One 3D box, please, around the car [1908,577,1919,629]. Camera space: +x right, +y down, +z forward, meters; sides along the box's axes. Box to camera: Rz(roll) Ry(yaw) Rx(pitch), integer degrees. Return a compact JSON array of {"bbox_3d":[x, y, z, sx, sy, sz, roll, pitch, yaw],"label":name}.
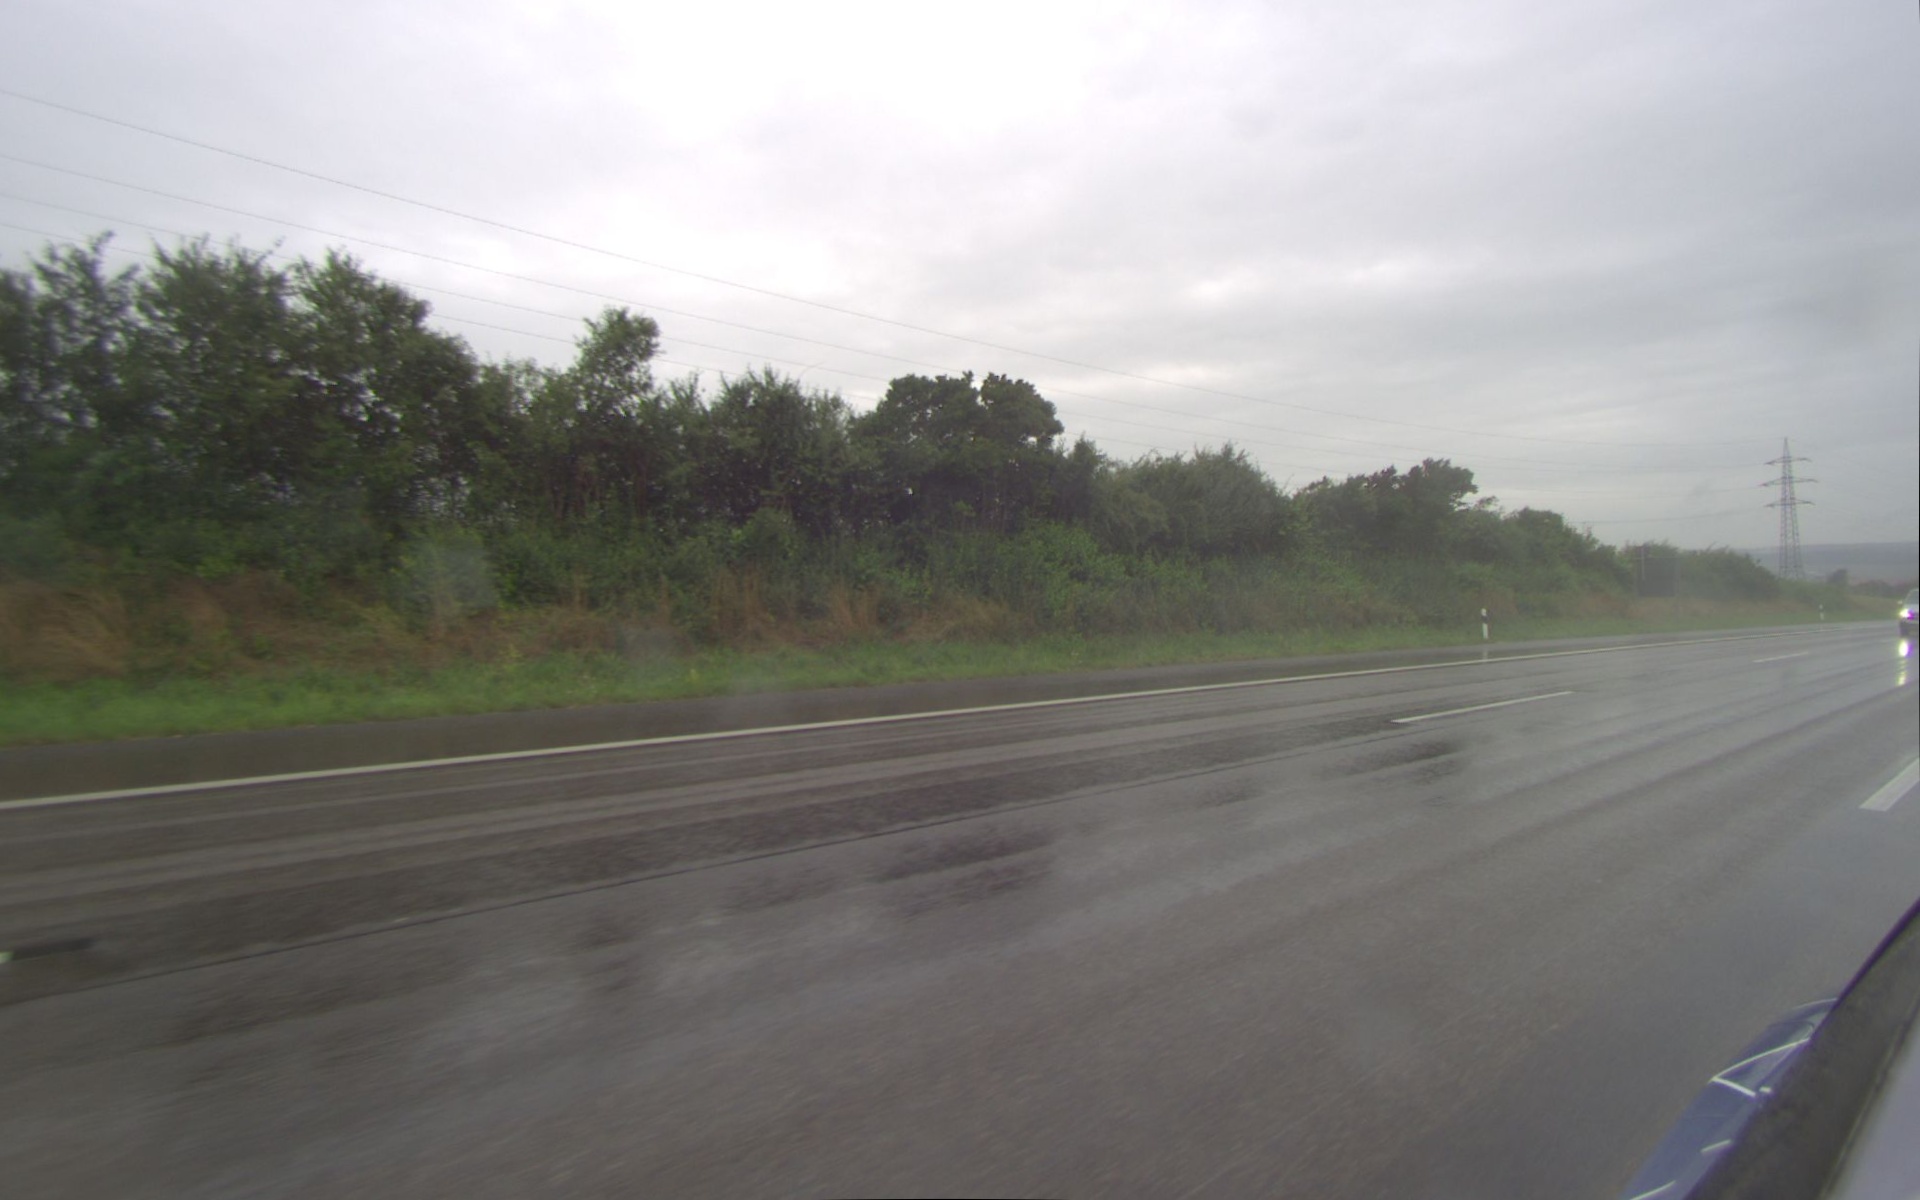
[{"bbox_3d":[39.639,0.123,40.518,3.929,2.039,1.997,0,-1,-40],"label":"car"}]
